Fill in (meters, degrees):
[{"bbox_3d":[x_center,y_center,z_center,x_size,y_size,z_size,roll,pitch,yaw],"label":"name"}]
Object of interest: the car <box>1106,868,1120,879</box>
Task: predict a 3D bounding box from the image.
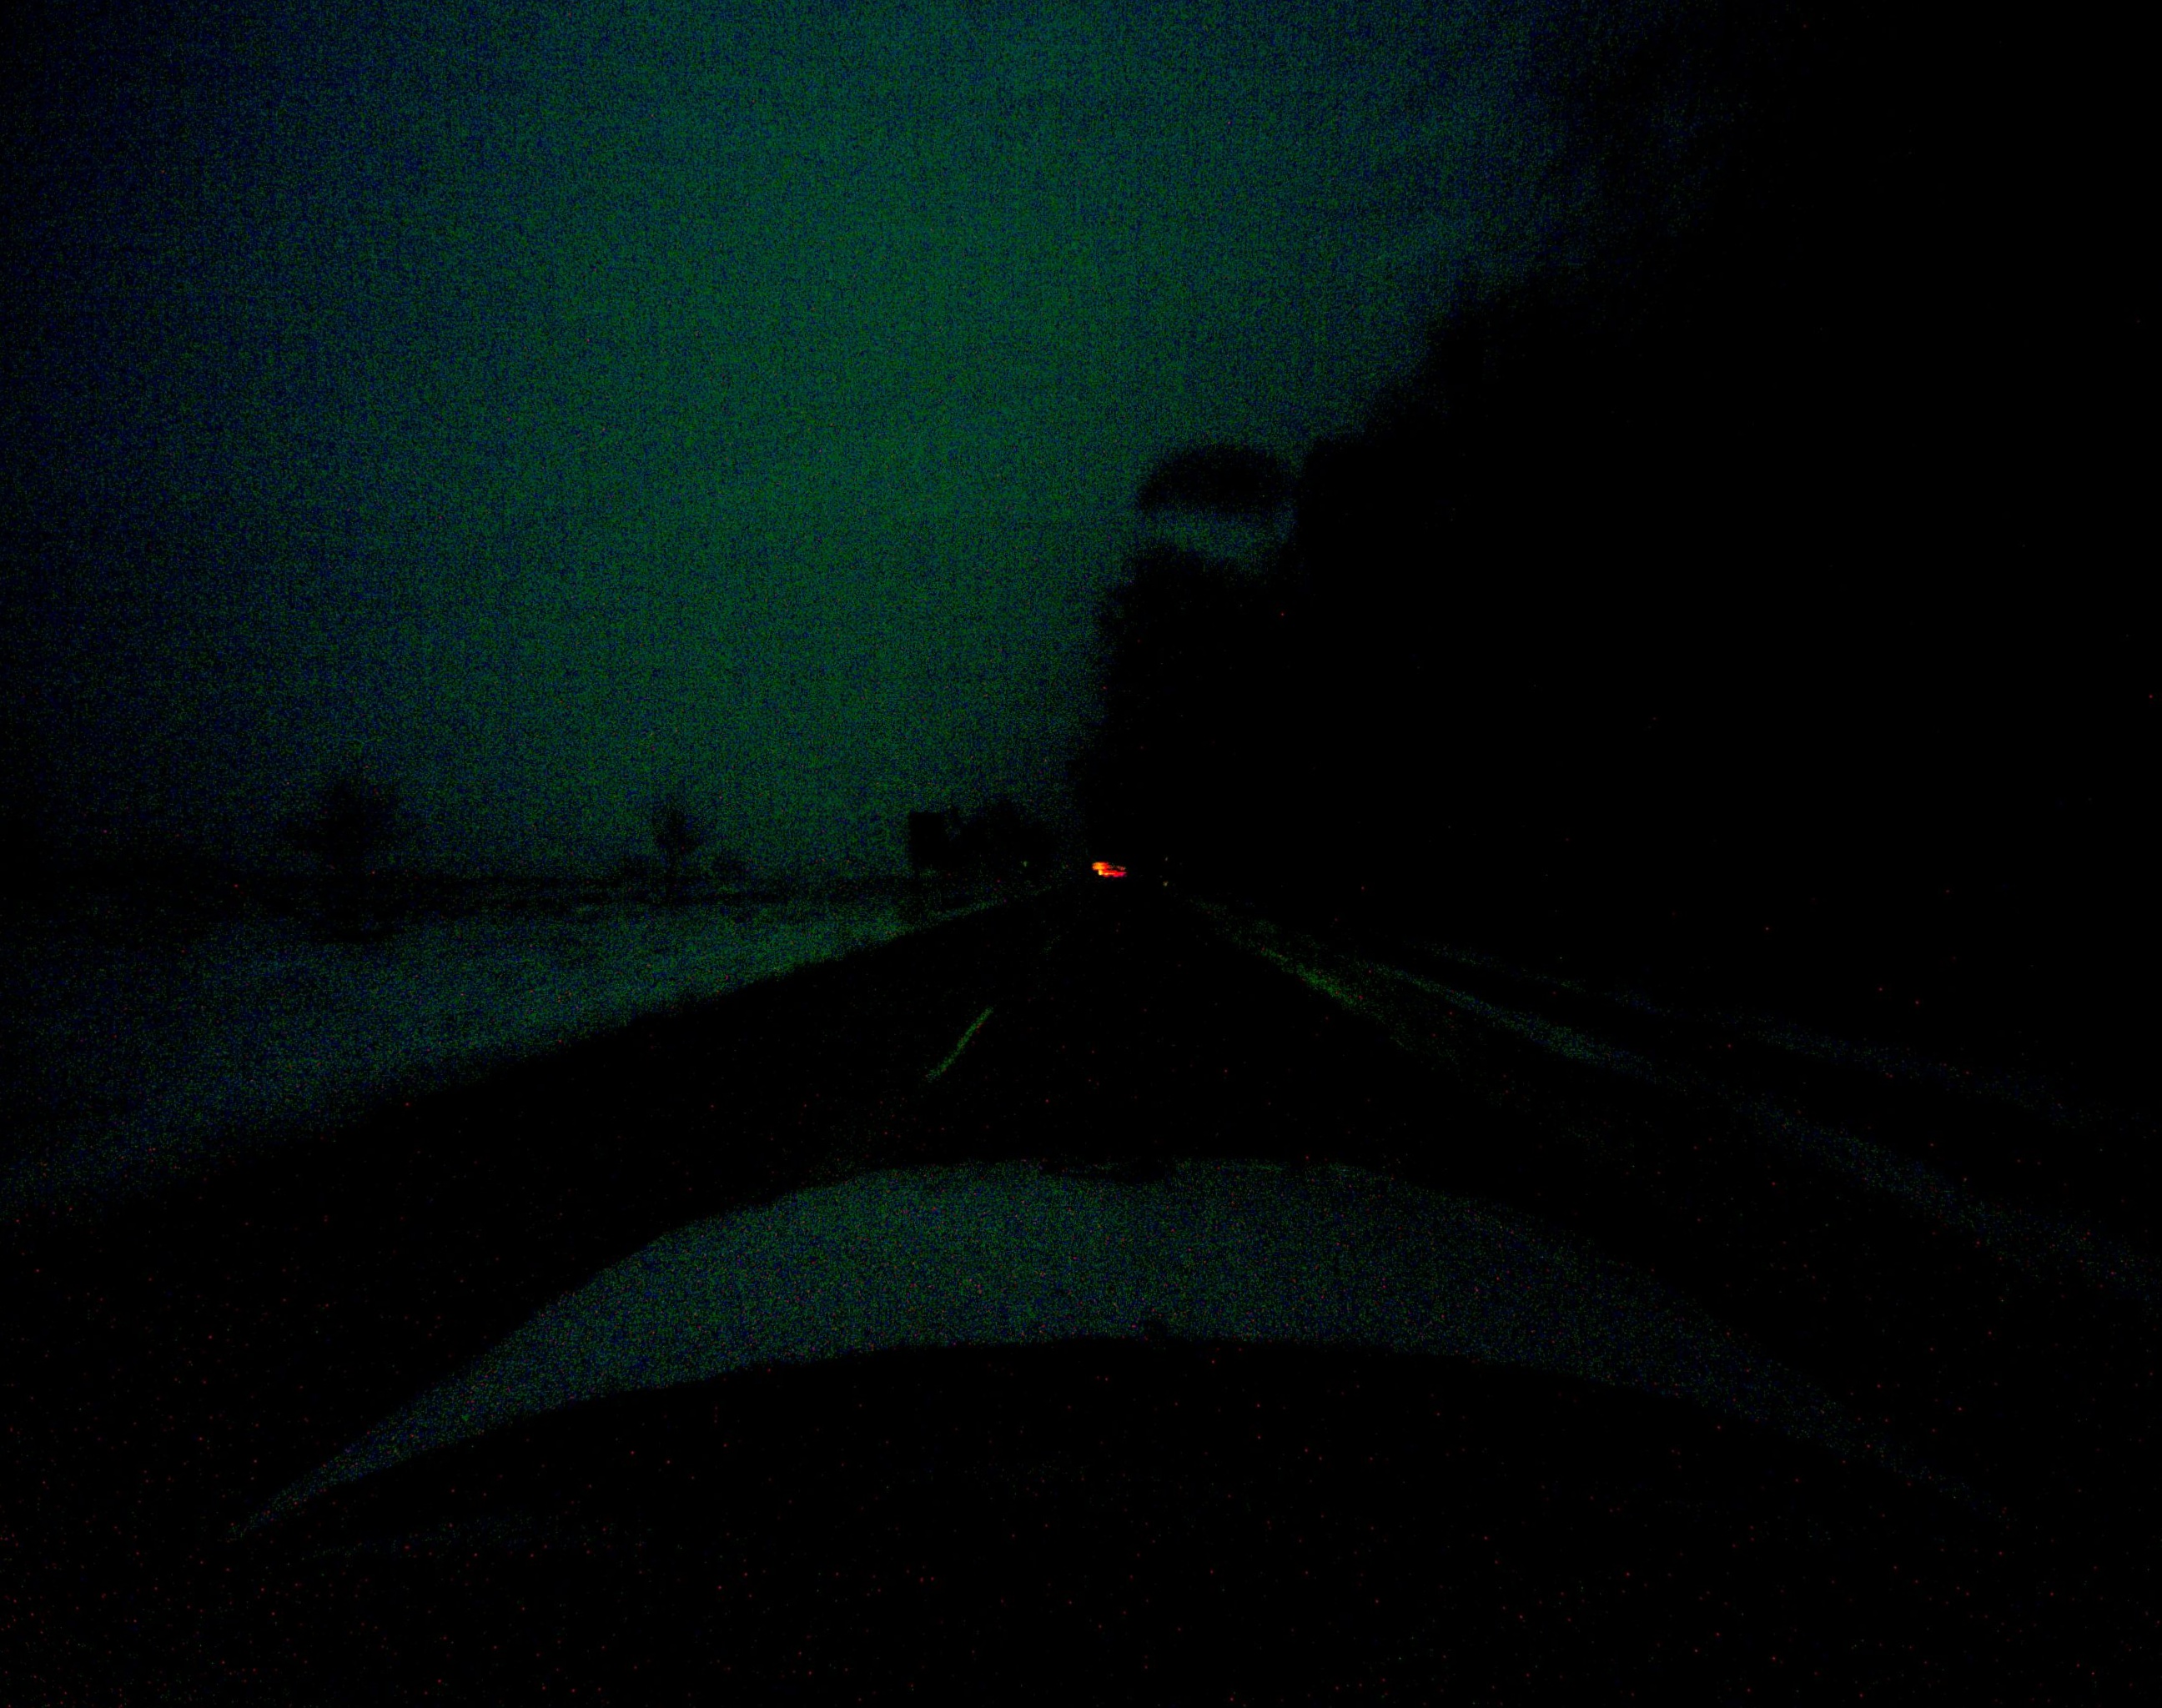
[{"bbox_3d":[4.690,2.918,120.437,1.986,1.420,4.000,-2,-3,1],"label":"car"}]
